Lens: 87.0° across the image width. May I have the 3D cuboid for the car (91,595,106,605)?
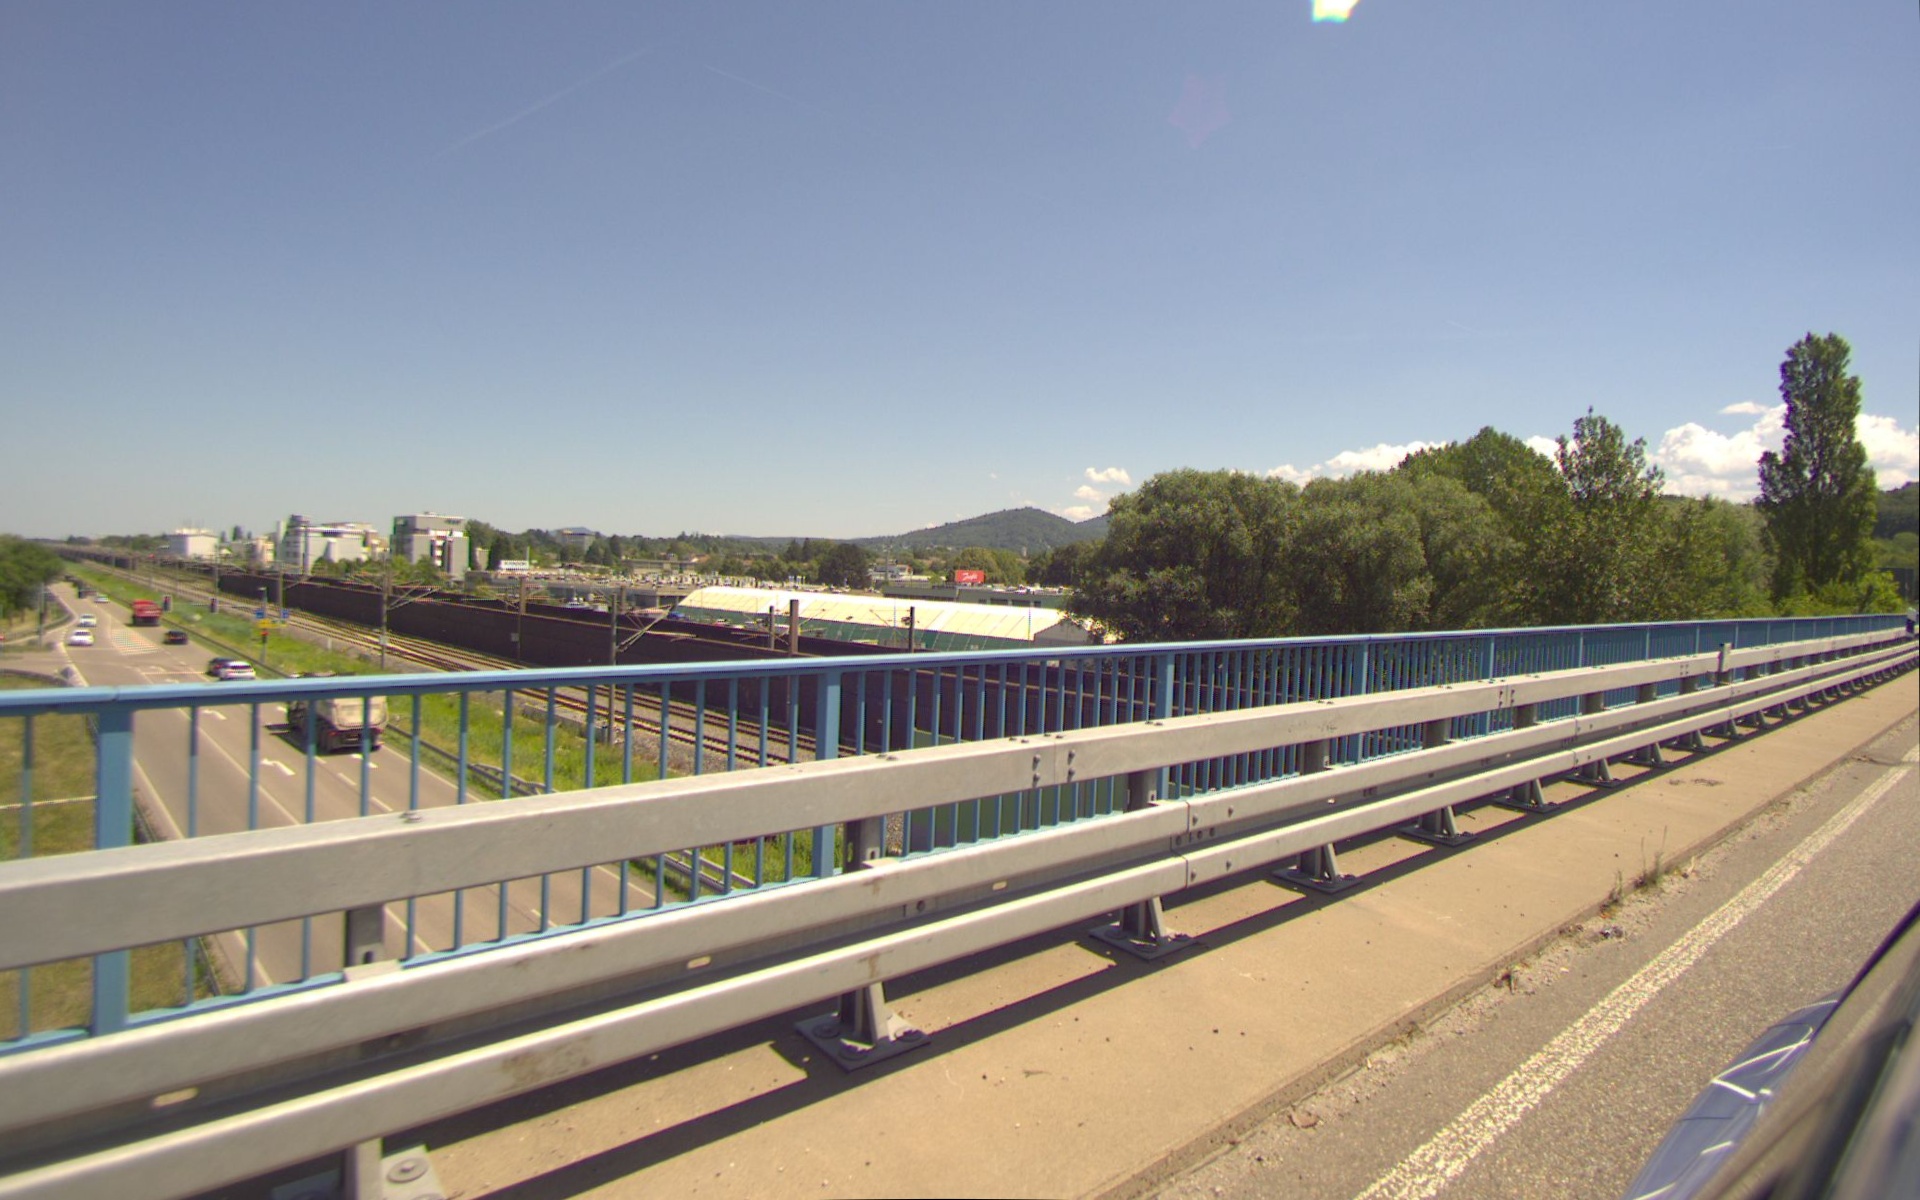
[{"bbox_3d":[-158.201,0.004,185.853,1.965,1.638,4.237,3,0,-41],"label":"car"}]

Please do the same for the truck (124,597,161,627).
[{"bbox_3d":[-110.508,1.607,136.731,2.828,3.467,10.965,2,1,-44],"label":"truck"}]

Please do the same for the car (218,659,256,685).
[{"bbox_3d":[-55.921,5.525,78.266,1.965,1.638,4.237,3,0,-41],"label":"car"}]

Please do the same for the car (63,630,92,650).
[{"bbox_3d":[-87.042,3.936,99.872,1.964,1.638,4.239,3,0,-40],"label":"car"}]

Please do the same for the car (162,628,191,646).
[{"bbox_3d":[-85.353,4.054,110.235,1.966,1.638,4.235,3,0,-43],"label":"car"}]

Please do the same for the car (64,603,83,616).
[{"bbox_3d":[-132.140,1.440,150.901,1.964,1.638,4.239,3,0,-40],"label":"car"}]

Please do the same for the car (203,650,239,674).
[{"bbox_3d":[-60.981,5.084,83.463,1.965,1.638,4.237,3,0,-41],"label":"car"}]

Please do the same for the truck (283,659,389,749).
[{"bbox_3d":[-35.014,5.555,56.471,2.826,3.467,11.920,2,1,-42],"label":"truck"}]
